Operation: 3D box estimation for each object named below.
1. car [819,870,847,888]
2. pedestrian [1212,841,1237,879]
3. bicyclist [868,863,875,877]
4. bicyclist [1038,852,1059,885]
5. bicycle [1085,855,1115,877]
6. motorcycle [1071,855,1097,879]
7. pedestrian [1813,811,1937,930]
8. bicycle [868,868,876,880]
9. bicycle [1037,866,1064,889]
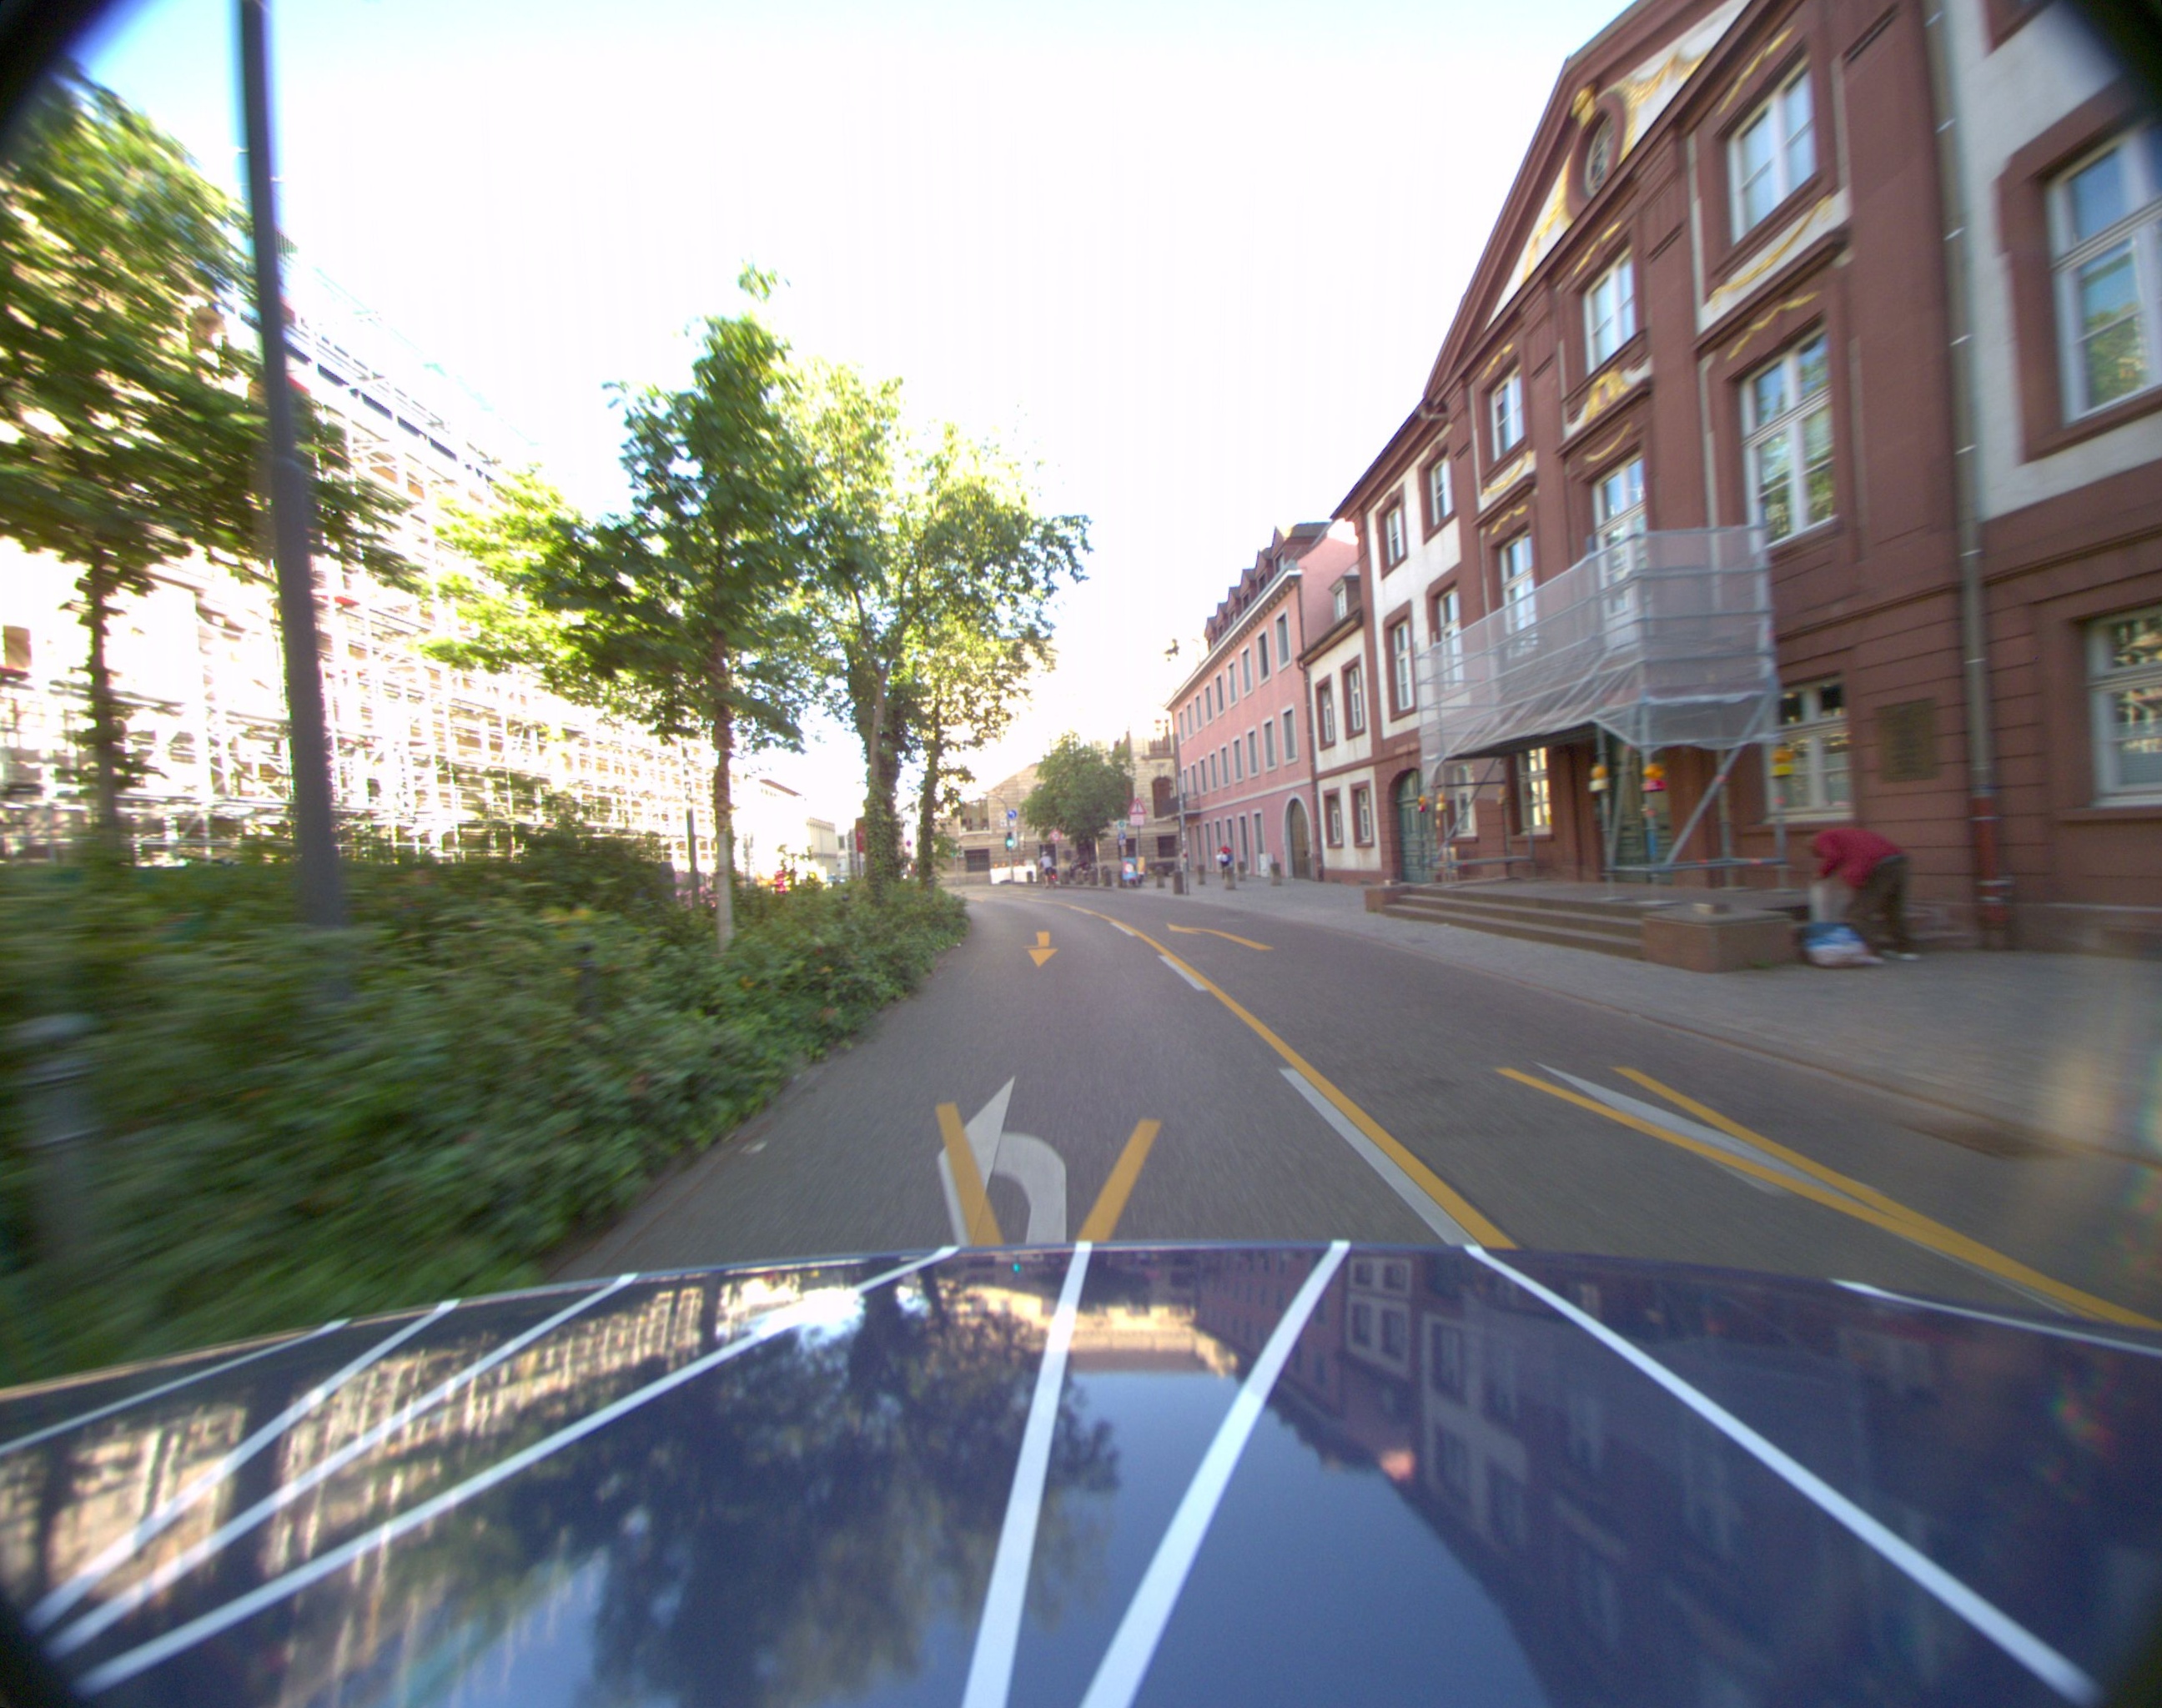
[{"bbox_3d":[-25.372,2.514,77.866,1.900,1.614,4.618,-5,0,-9],"label":"car"},{"bbox_3d":[6.577,0.271,34.753,0.793,1.679,0.868,-5,1,-3],"label":"pedestrian"},{"bbox_3d":[-19.974,1.542,72.490,0.538,1.281,0.551,-5,1,-11],"label":"bicyclist"},{"bbox_3d":[-1.605,0.729,37.597,0.747,1.574,0.794,-5,1,-18],"label":"bicyclist"},{"bbox_3d":[1.160,0.722,46.367,0.681,1.199,2.009,-2,1,40],"label":"bicycle"},{"bbox_3d":[0.144,0.768,44.052,0.815,1.309,2.334,-4,0,-17],"label":"motorcycle"},{"bbox_3d":[7.537,0.148,7.234,0.538,1.047,0.551,-5,1,-5],"label":"pedestrian"},{"bbox_3d":[-19.917,1.934,72.375,0.535,1.060,1.424,-5,1,-11],"label":"bicycle"},{"bbox_3d":[-1.524,1.165,37.516,0.774,1.056,2.075,-4,0,-17],"label":"bicycle"}]
